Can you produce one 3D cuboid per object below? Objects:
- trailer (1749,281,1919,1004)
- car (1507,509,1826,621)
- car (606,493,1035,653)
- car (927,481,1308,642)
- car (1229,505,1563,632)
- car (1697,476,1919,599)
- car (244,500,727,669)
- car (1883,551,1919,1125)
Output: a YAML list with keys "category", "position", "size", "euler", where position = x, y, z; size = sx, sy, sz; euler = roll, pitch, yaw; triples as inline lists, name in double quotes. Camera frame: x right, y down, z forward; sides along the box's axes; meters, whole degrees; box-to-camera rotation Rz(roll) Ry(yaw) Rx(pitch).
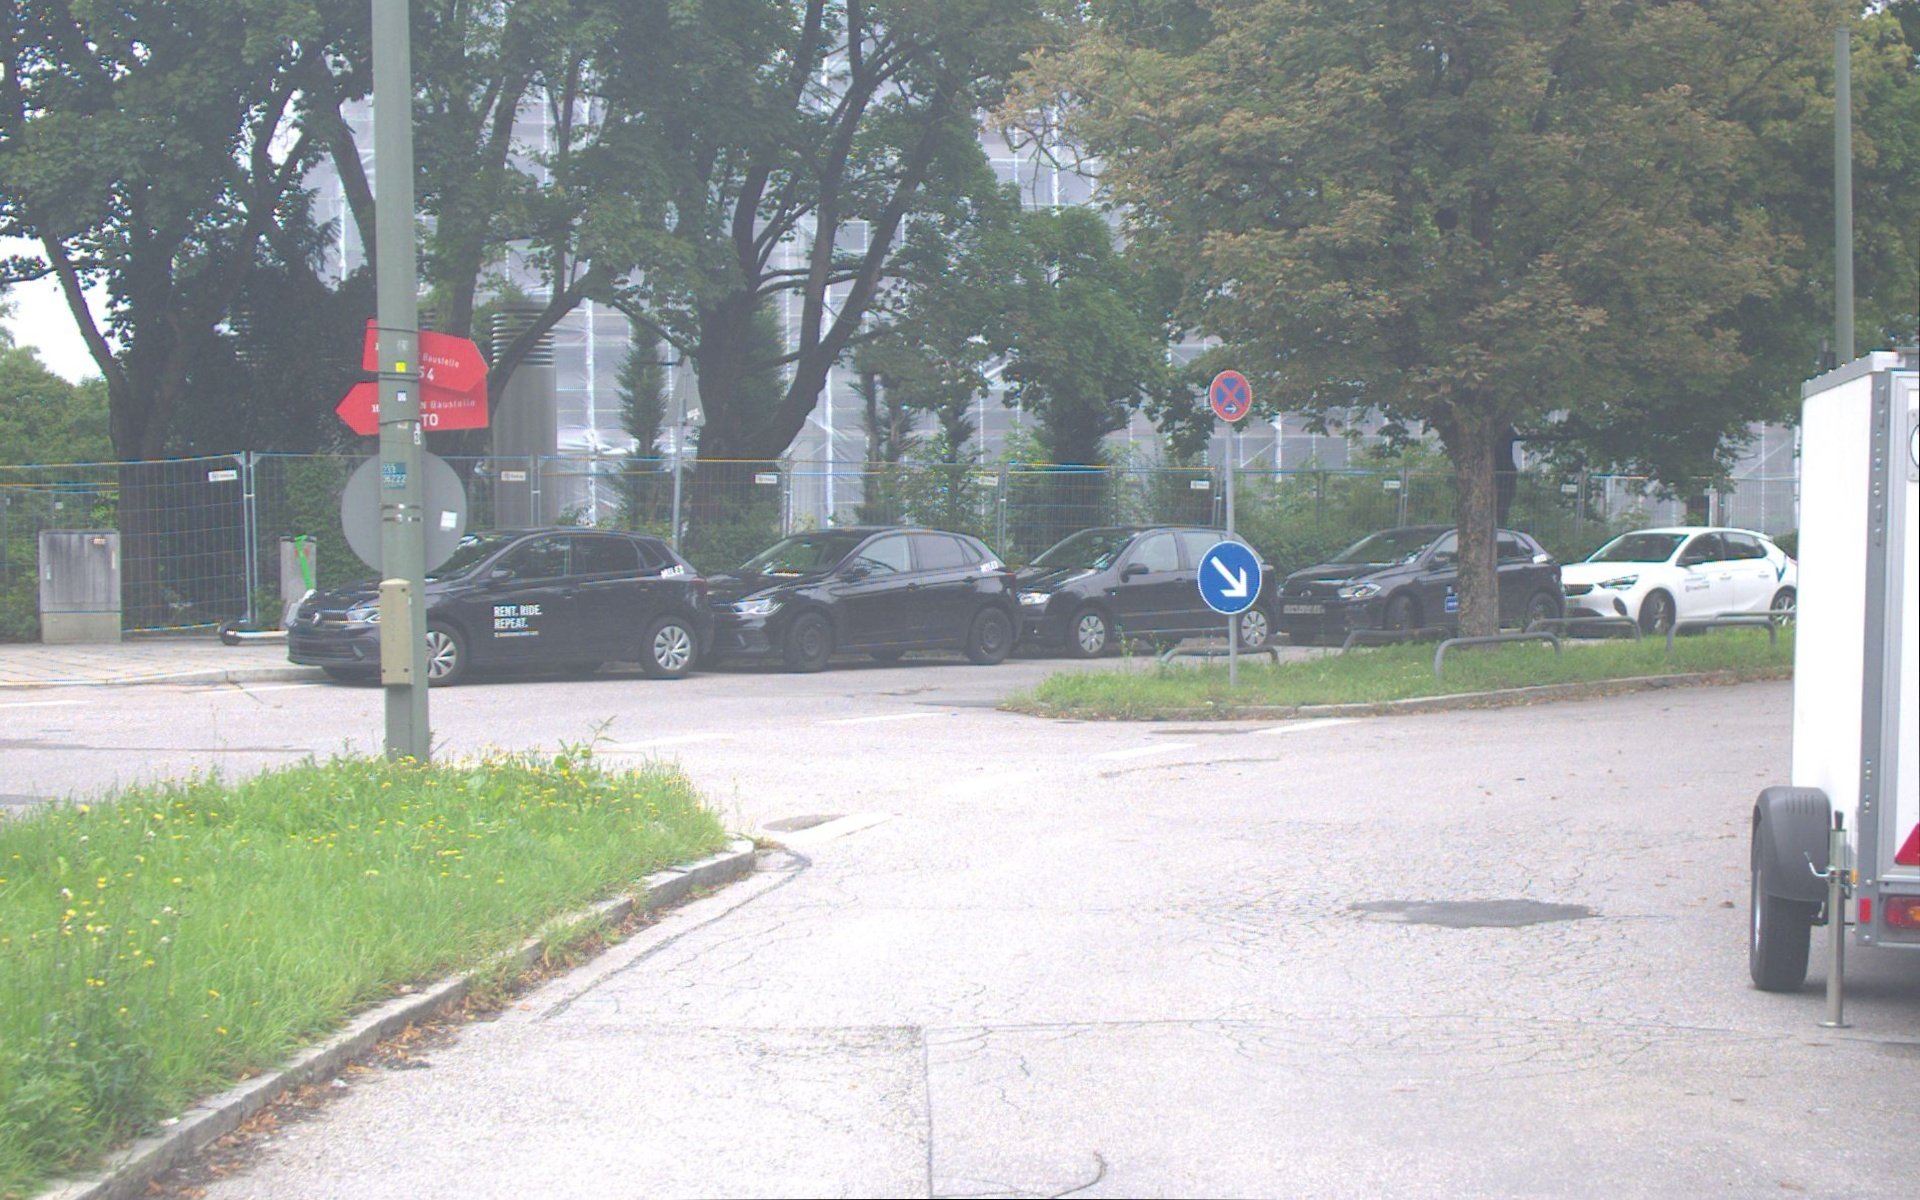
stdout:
- category: "trailer"
  position: [3.693, 0.073, 11.781]
  size: [1.810, 2.007, 4.832]
  euler: [0, 1, 12]
- category: "car"
  position: [9.181, -0.477, 44.530]
  size: [4.206, 1.379, 1.801]
  euler: [-1, 1, -39]
- category: "car"
  position: [-1.383, -0.311, 34.944]
  size: [3.989, 1.535, 1.999]
  euler: [-2, 2, -42]
- category: "car"
  position: [1.791, -0.448, 38.366]
  size: [3.989, 1.700, 1.999]
  euler: [-1, 1, -42]
- category: "car"
  position: [5.302, -0.402, 41.543]
  size: [3.995, 1.456, 1.839]
  euler: [-1, 1, -42]
- category: "car"
  position: [12.489, -0.828, 47.481]
  size: [4.381, 1.600, 1.892]
  euler: [1, 0, -31]
- category: "car"
  position: [-4.391, -0.196, 32.098]
  size: [4.031, 1.427, 1.999]
  euler: [-2, 4, -41]
- category: "car"
  position: [3.288, 0.629, 6.668]
  size: [1.872, 1.432, 4.328]
  euler: [-1, 2, 1]
